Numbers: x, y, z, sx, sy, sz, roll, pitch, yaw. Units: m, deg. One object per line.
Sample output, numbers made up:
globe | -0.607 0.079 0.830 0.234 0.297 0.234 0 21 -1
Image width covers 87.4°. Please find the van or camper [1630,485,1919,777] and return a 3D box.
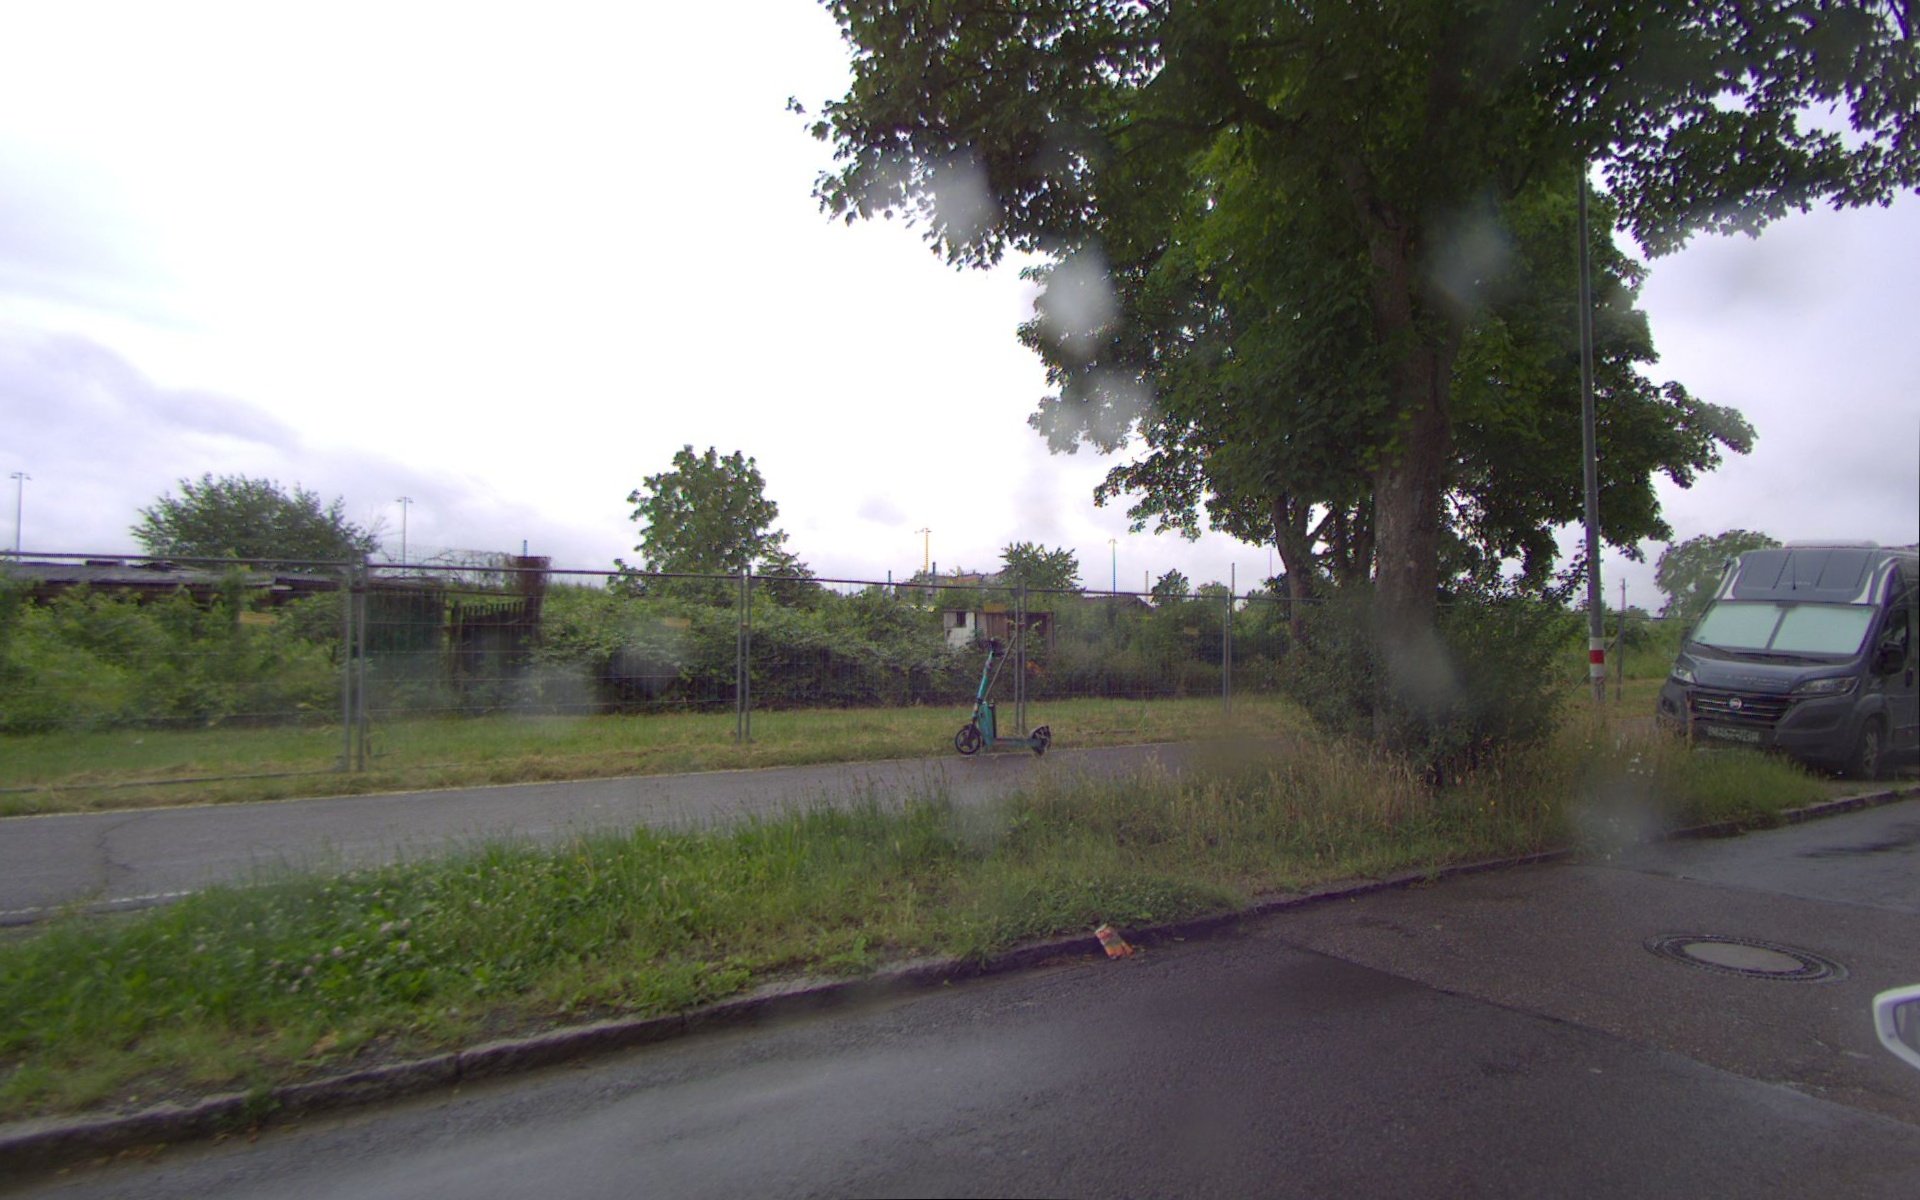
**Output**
van or camper | 11.664 0.427 13.353 6.353 3.135 2.083 2 0 -32

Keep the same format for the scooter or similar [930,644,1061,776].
scooter or similar | 0.396 1.156 10.886 1.395 1.357 0.433 2 -2 -30
